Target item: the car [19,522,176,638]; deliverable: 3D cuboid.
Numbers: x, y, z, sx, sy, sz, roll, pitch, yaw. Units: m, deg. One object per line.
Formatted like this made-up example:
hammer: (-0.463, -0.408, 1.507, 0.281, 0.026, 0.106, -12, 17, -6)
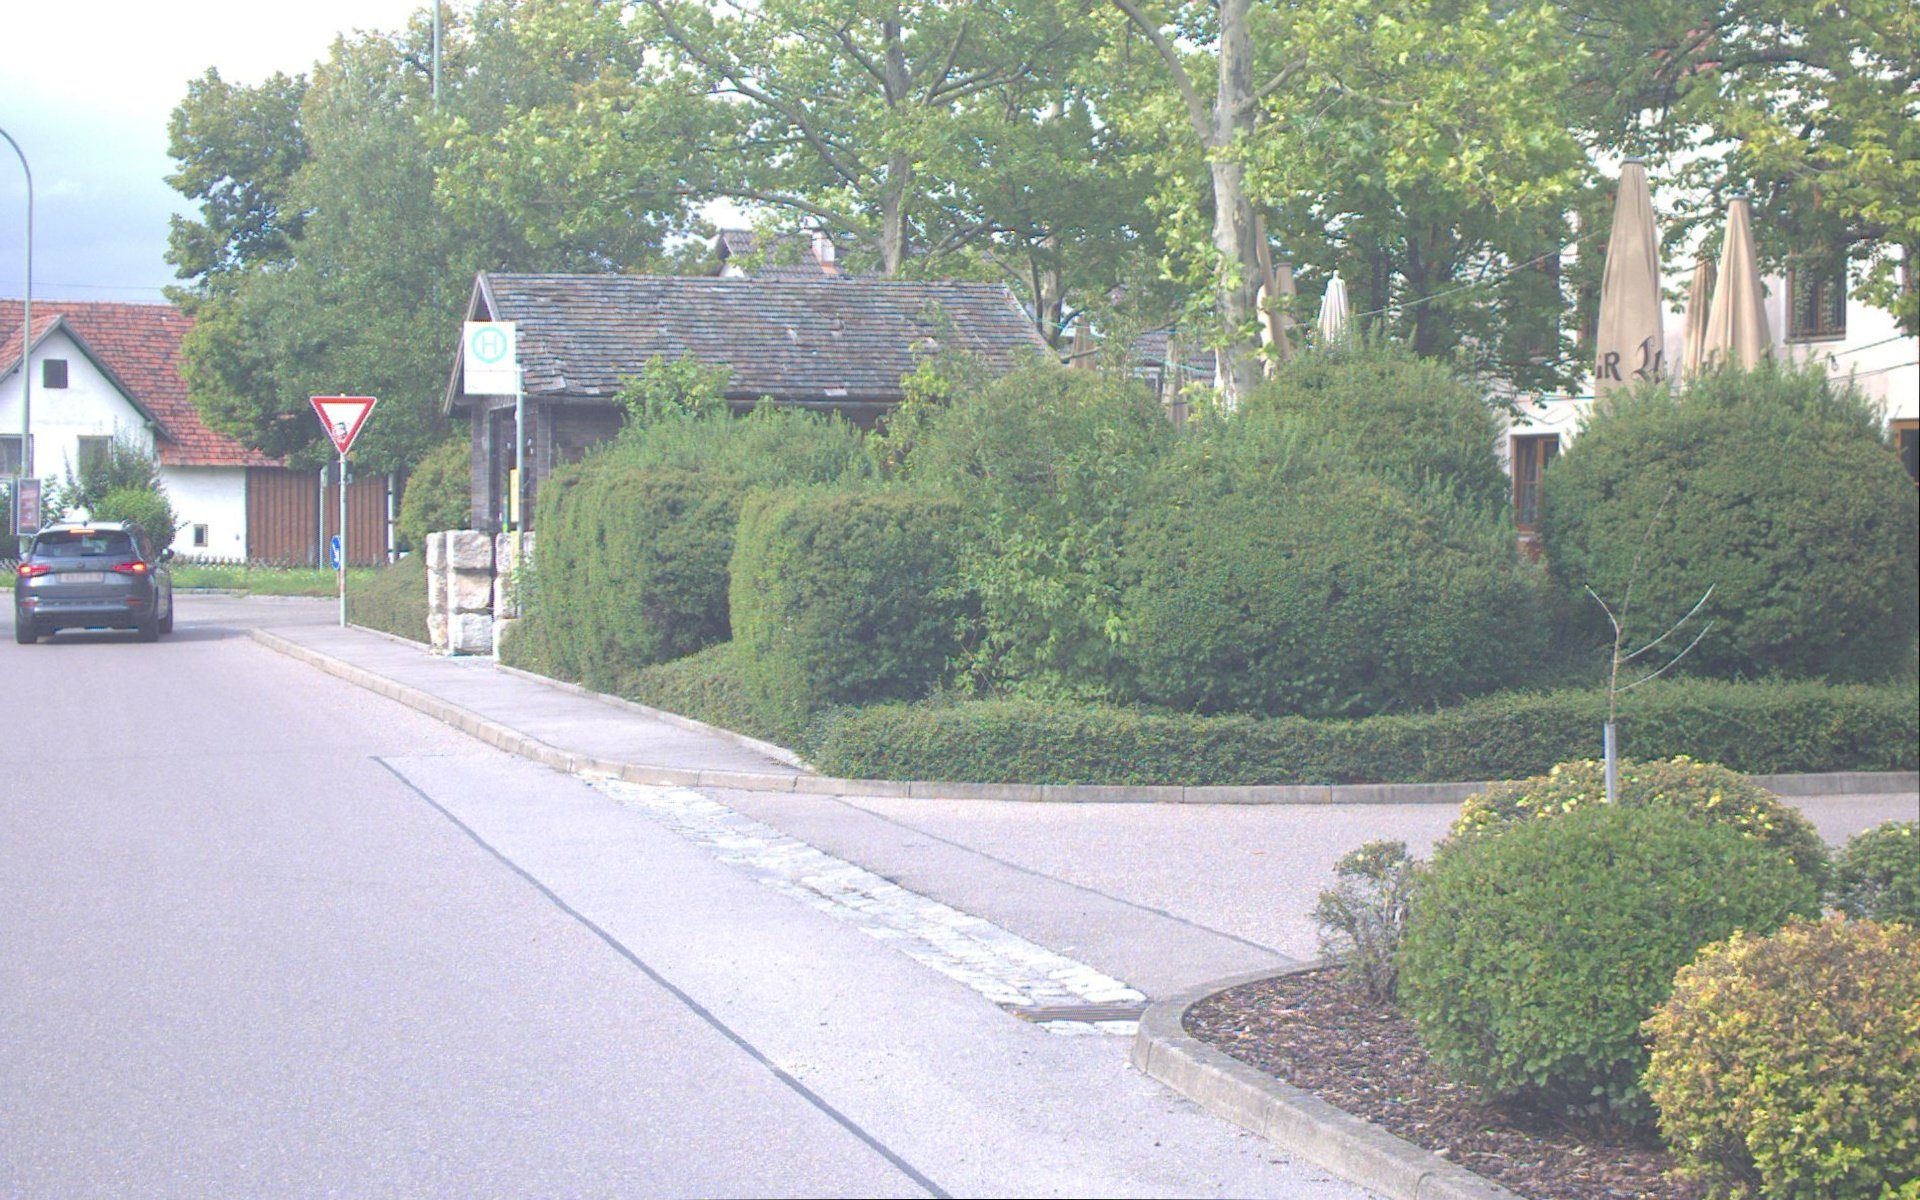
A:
car: (-11.472, -0.301, 45.583, 1.798, 1.457, 3.663, 0, 2, -17)
